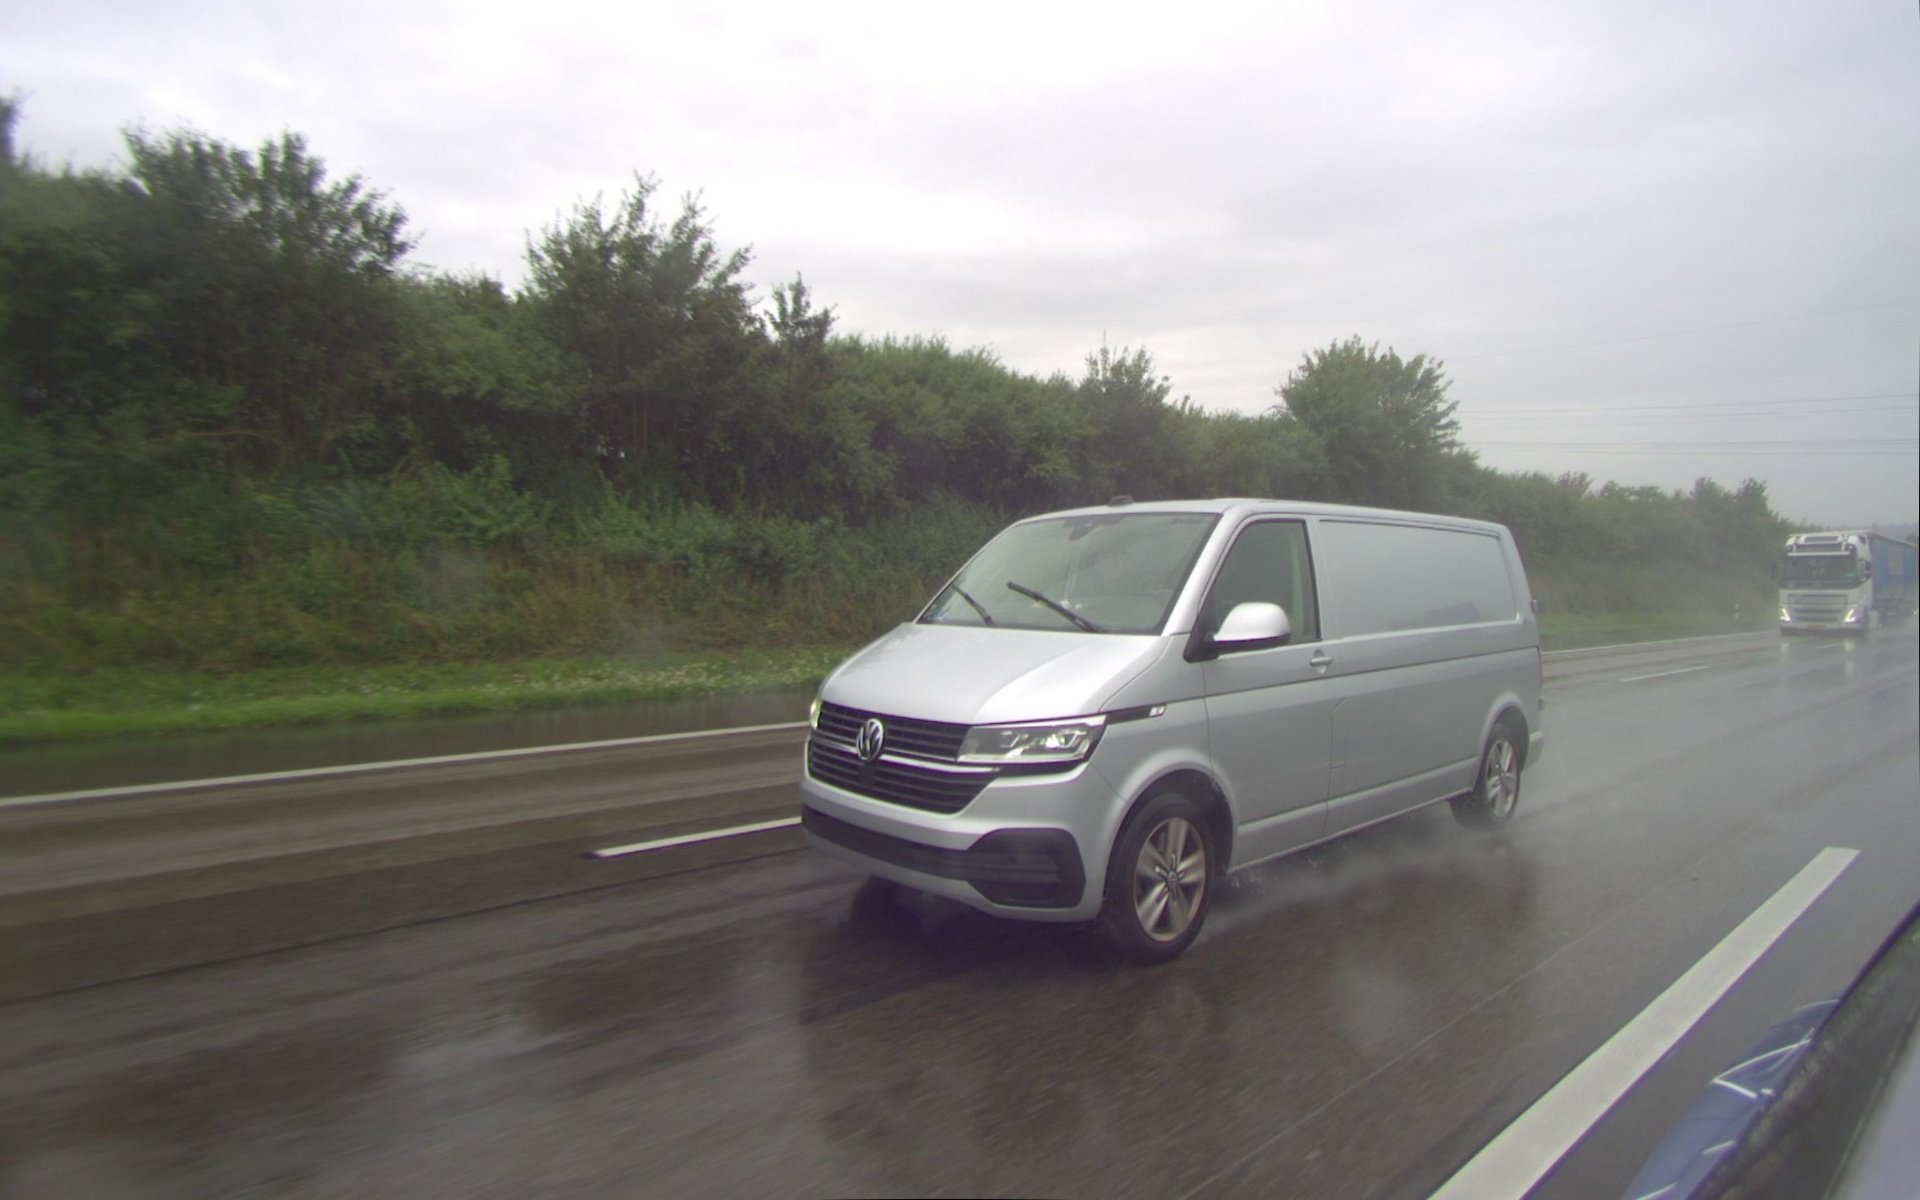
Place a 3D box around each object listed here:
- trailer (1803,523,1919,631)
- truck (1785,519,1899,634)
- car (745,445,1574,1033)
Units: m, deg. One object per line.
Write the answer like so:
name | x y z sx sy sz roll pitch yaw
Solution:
trailer | 39.946 -0.968 44.188 13.550 4.139 2.617 -1 1 -41
truck | 34.270 -0.899 39.280 5.146 4.139 2.617 0 1 -41
car | 1.469 0.411 5.617 4.921 1.907 1.891 0 2 -41
